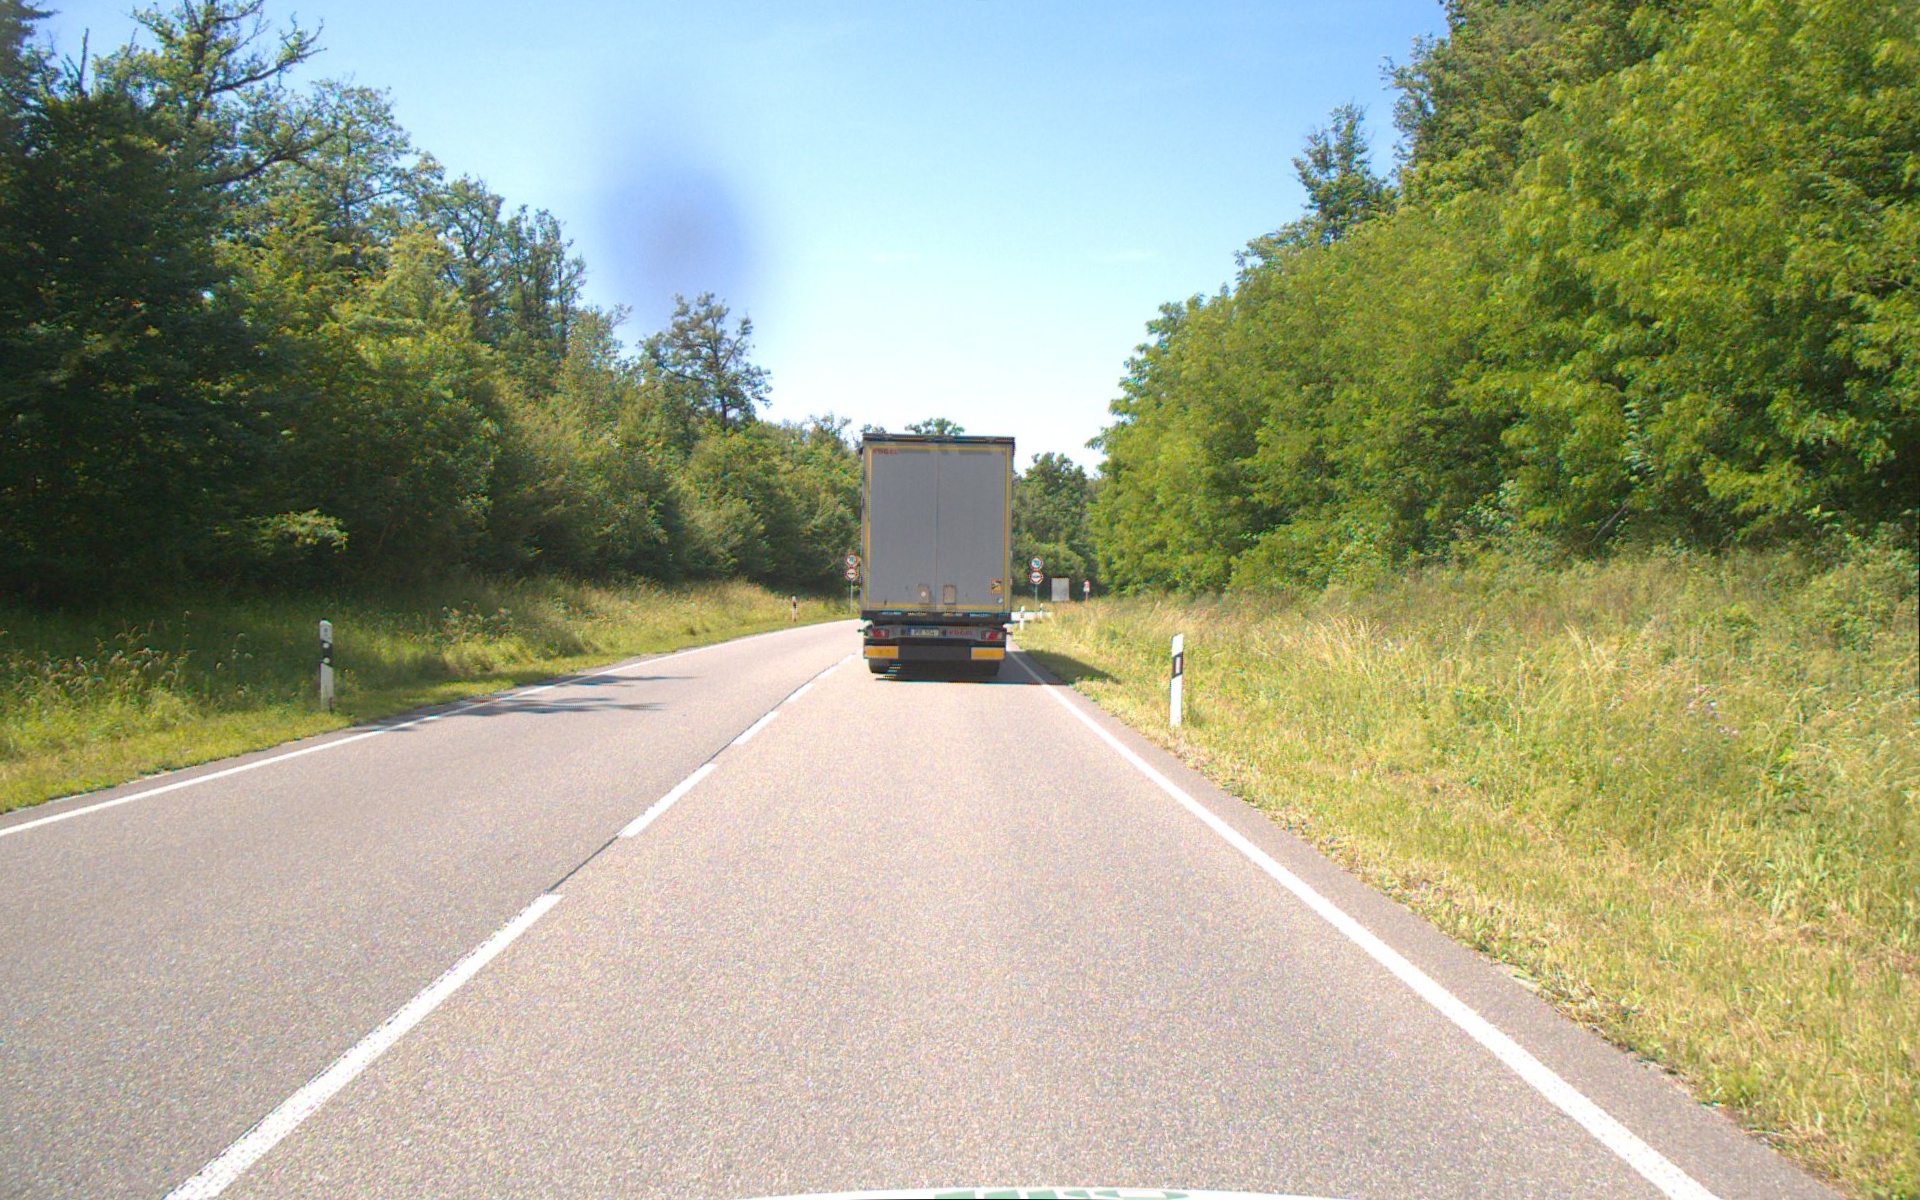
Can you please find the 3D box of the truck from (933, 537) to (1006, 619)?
[{"bbox_3d":[0.727,-1.246,98.112,3.714,4.449,14.925,1,0,3],"label":"truck"}]

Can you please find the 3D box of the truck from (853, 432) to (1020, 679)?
[{"bbox_3d":[-0.506,-0.775,33.045,2.705,4.016,12.195,0,0,-1],"label":"truck"}]
